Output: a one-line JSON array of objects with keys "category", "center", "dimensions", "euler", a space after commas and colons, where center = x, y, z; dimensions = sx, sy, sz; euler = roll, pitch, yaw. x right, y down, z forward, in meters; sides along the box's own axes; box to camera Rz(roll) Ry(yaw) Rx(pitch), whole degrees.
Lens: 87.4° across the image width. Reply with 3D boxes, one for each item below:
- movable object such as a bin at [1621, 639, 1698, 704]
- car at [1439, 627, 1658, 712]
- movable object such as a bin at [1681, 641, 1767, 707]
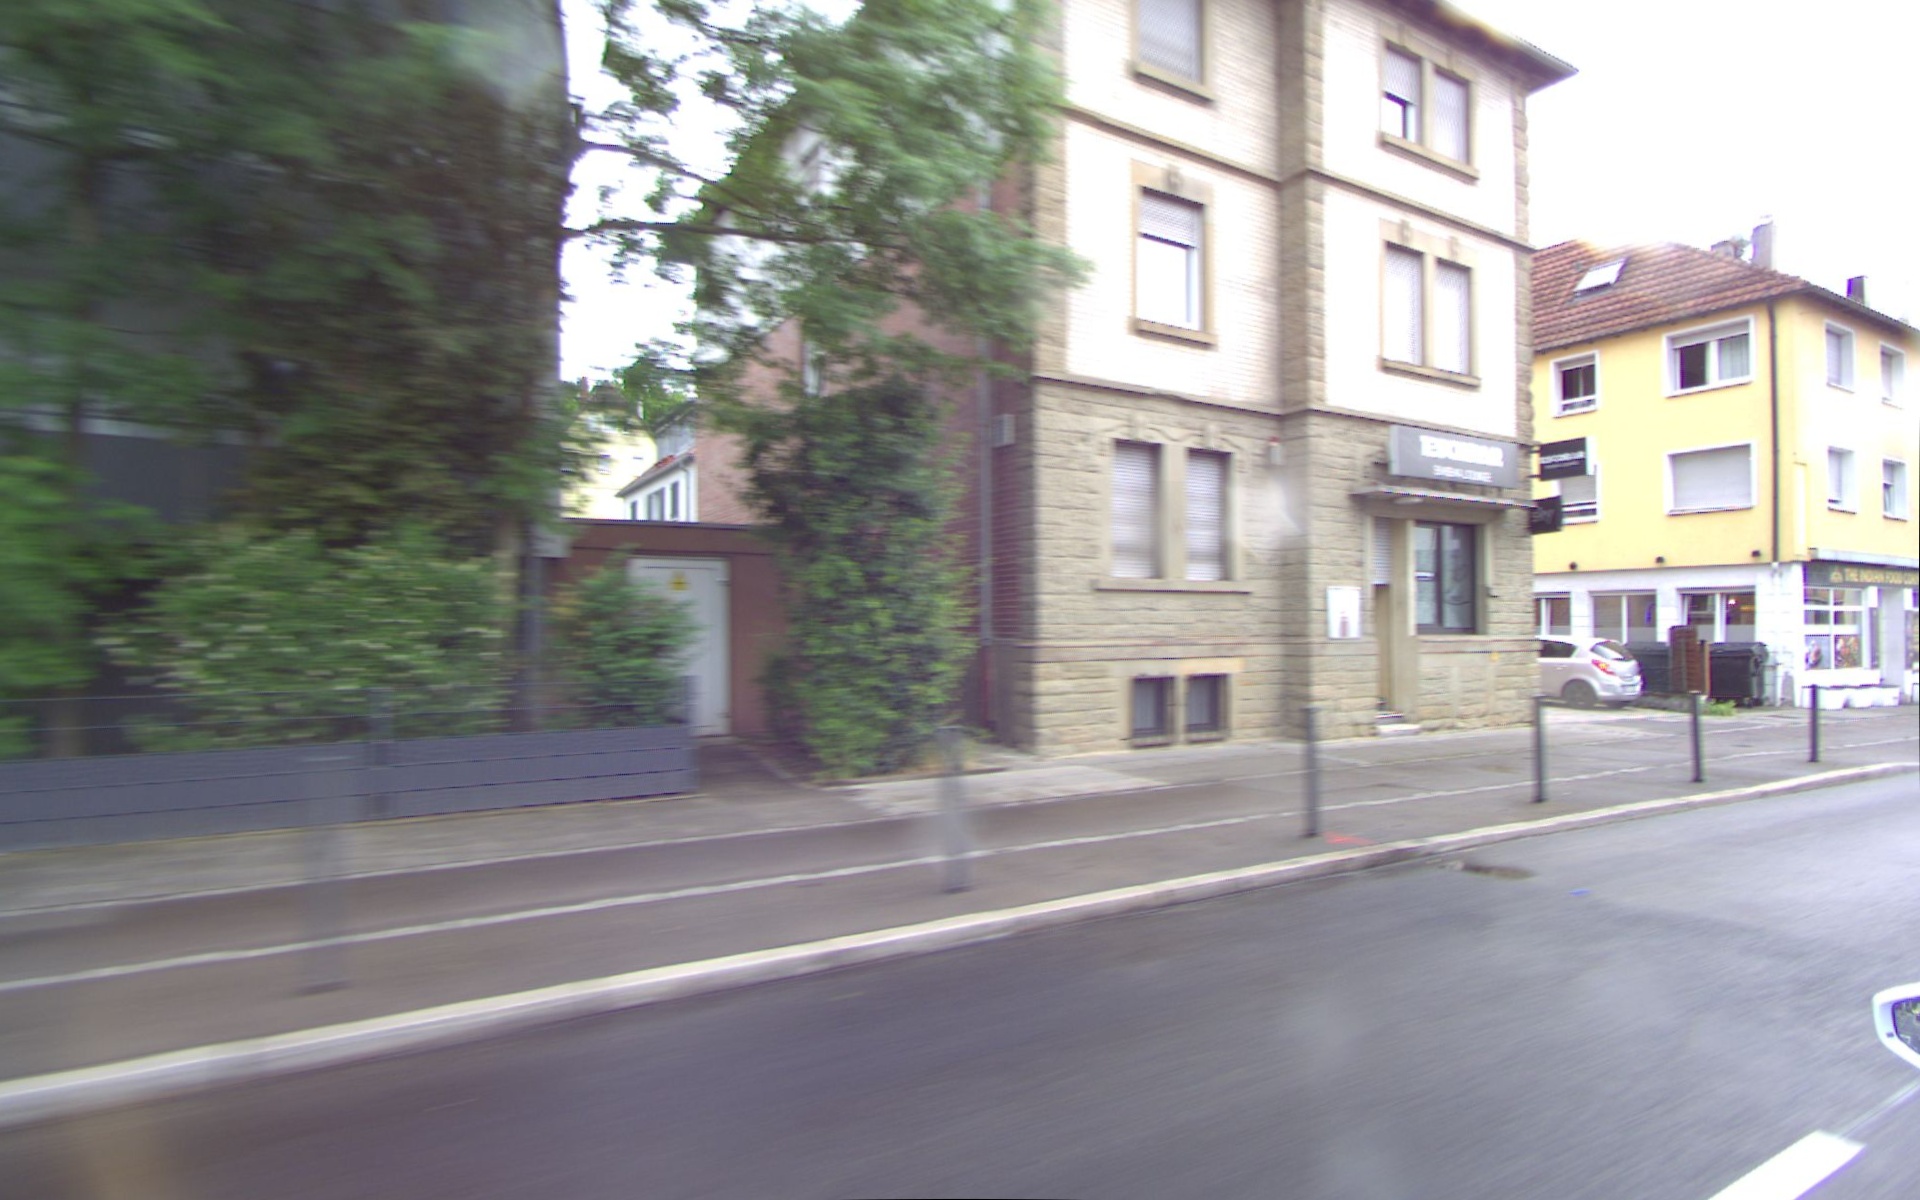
[{"category": "movable object such as a bin", "center": [16.619, 1.677, 23.879], "dimensions": [0.972, 1.458, 1.240], "euler": [1, -1, -31]}, {"category": "car", "center": [12.446, 1.408, 21.425], "dimensions": [1.925, 1.506, 3.545], "euler": [1, 0, -32]}, {"category": "movable object such as a bin", "center": [17.298, 1.650, 22.754], "dimensions": [0.972, 1.420, 1.295], "euler": [1, -1, -31]}]
